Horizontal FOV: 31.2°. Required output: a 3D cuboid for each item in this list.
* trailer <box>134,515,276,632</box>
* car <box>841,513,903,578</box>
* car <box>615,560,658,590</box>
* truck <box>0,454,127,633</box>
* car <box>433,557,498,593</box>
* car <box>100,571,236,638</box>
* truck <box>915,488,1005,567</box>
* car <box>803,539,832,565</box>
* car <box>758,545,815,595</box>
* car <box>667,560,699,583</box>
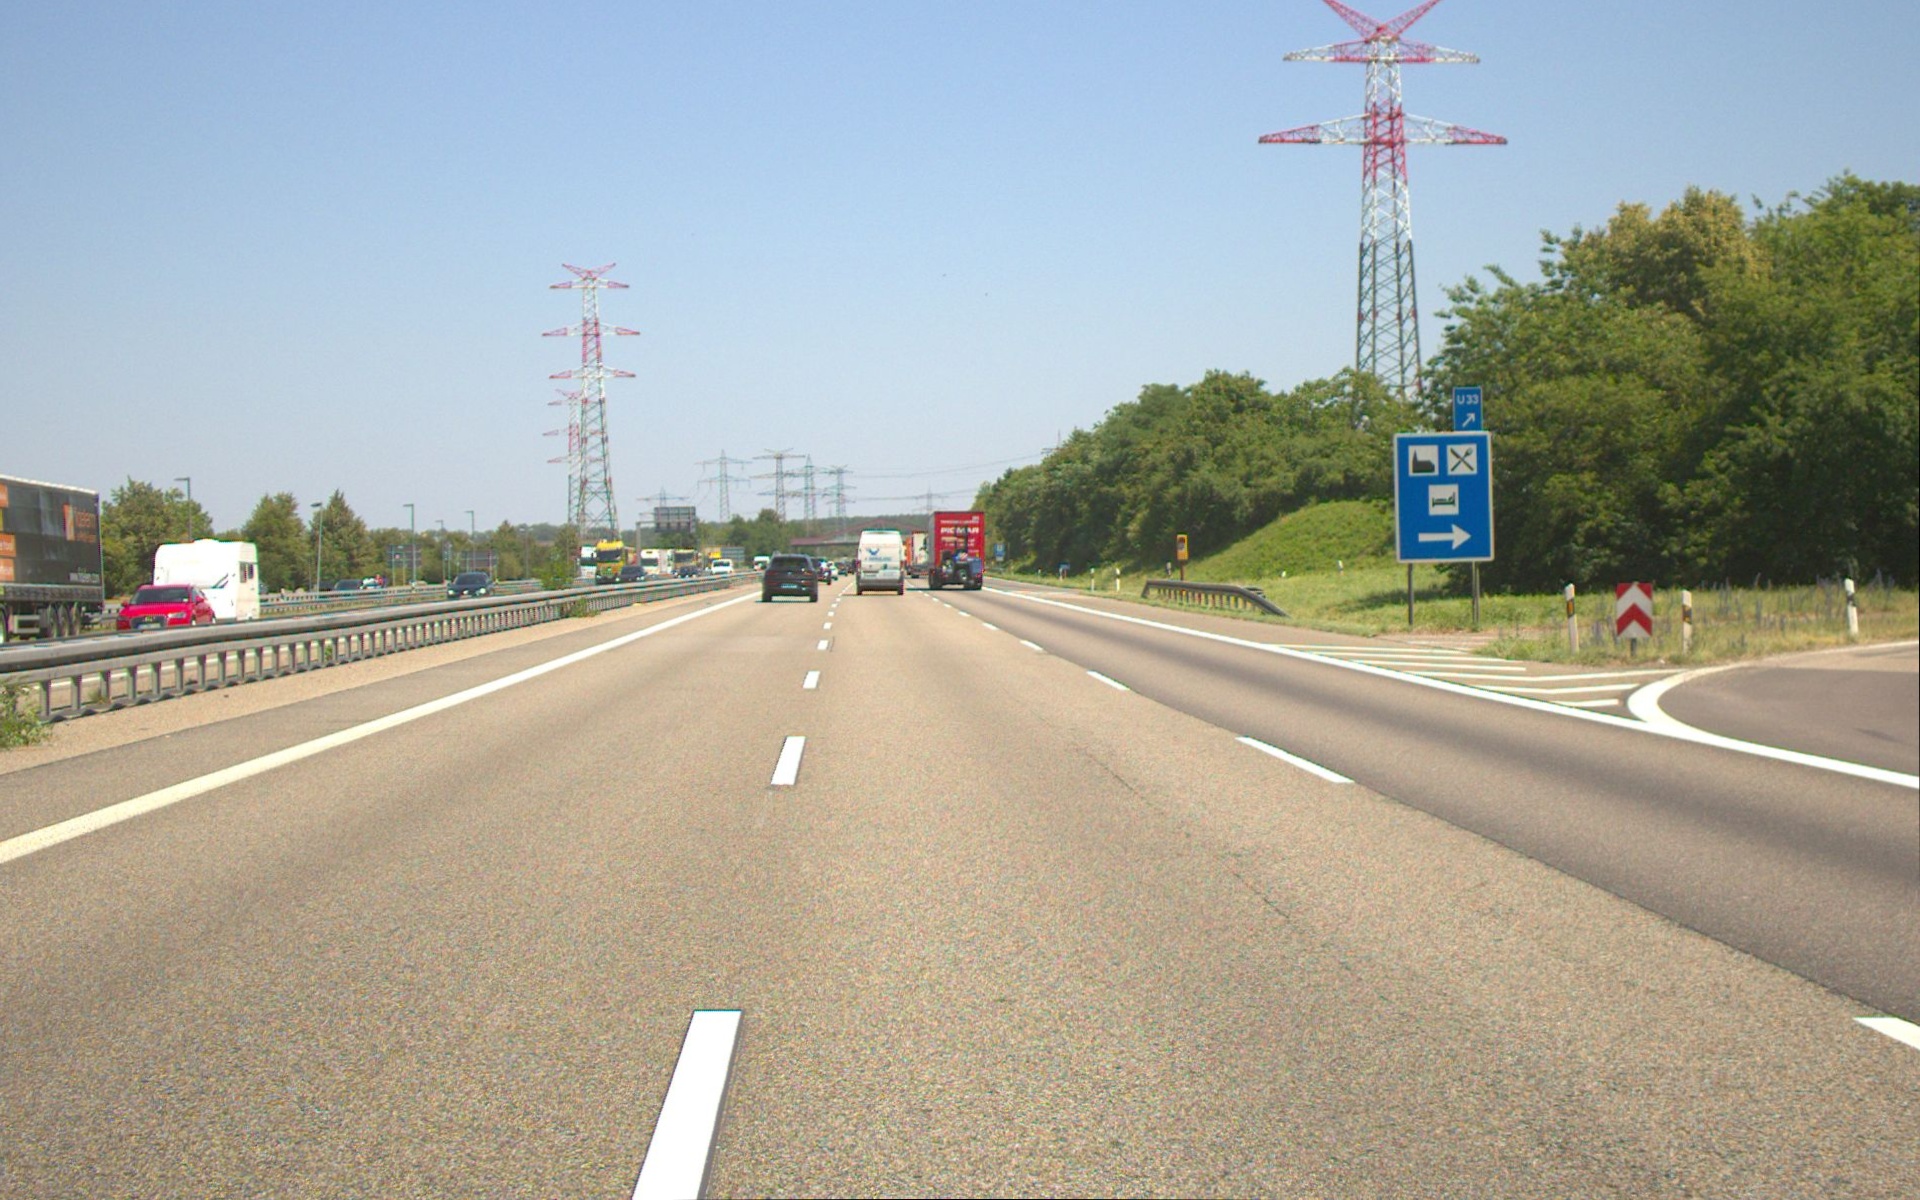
[{"bbox_3d":[-18.937,-0.692,86.471,2.477,2.738,5.075,-3,1,-2],"label":"trailer"},{"bbox_3d":[-3.850,-2.391,149.817,2.621,2.749,6.097,1,1,-2],"label":"car"},{"bbox_3d":[-18.334,-1.448,194.874,2.052,1.546,4.891,-3,1,-2],"label":"car"},{"bbox_3d":[-23.061,-1.284,80.551,3.326,3.982,16.869,-1,1,-2],"label":"truck"},{"bbox_3d":[-21.502,-1.101,149.783,2.227,1.375,4.891,-3,1,-2],"label":"car"},{"bbox_3d":[-18.751,0.092,81.592,2.227,1.375,4.692,-3,1,-2],"label":"car"},{"bbox_3d":[-0.096,-3.800,181.207,4.331,3.928,16.079,1,1,-1],"label":"truck"},{"bbox_3d":[-8.910,-3.018,215.586,1.747,1.628,4.004,1,1,-2],"label":"car"},{"bbox_3d":[-6.259,-1.111,124.511,1.993,1.744,4.001,1,1,-2],"label":"car"},{"bbox_3d":[-20.442,-2.126,254.079,2.052,1.546,4.891,-3,1,-2],"label":"car"}]
